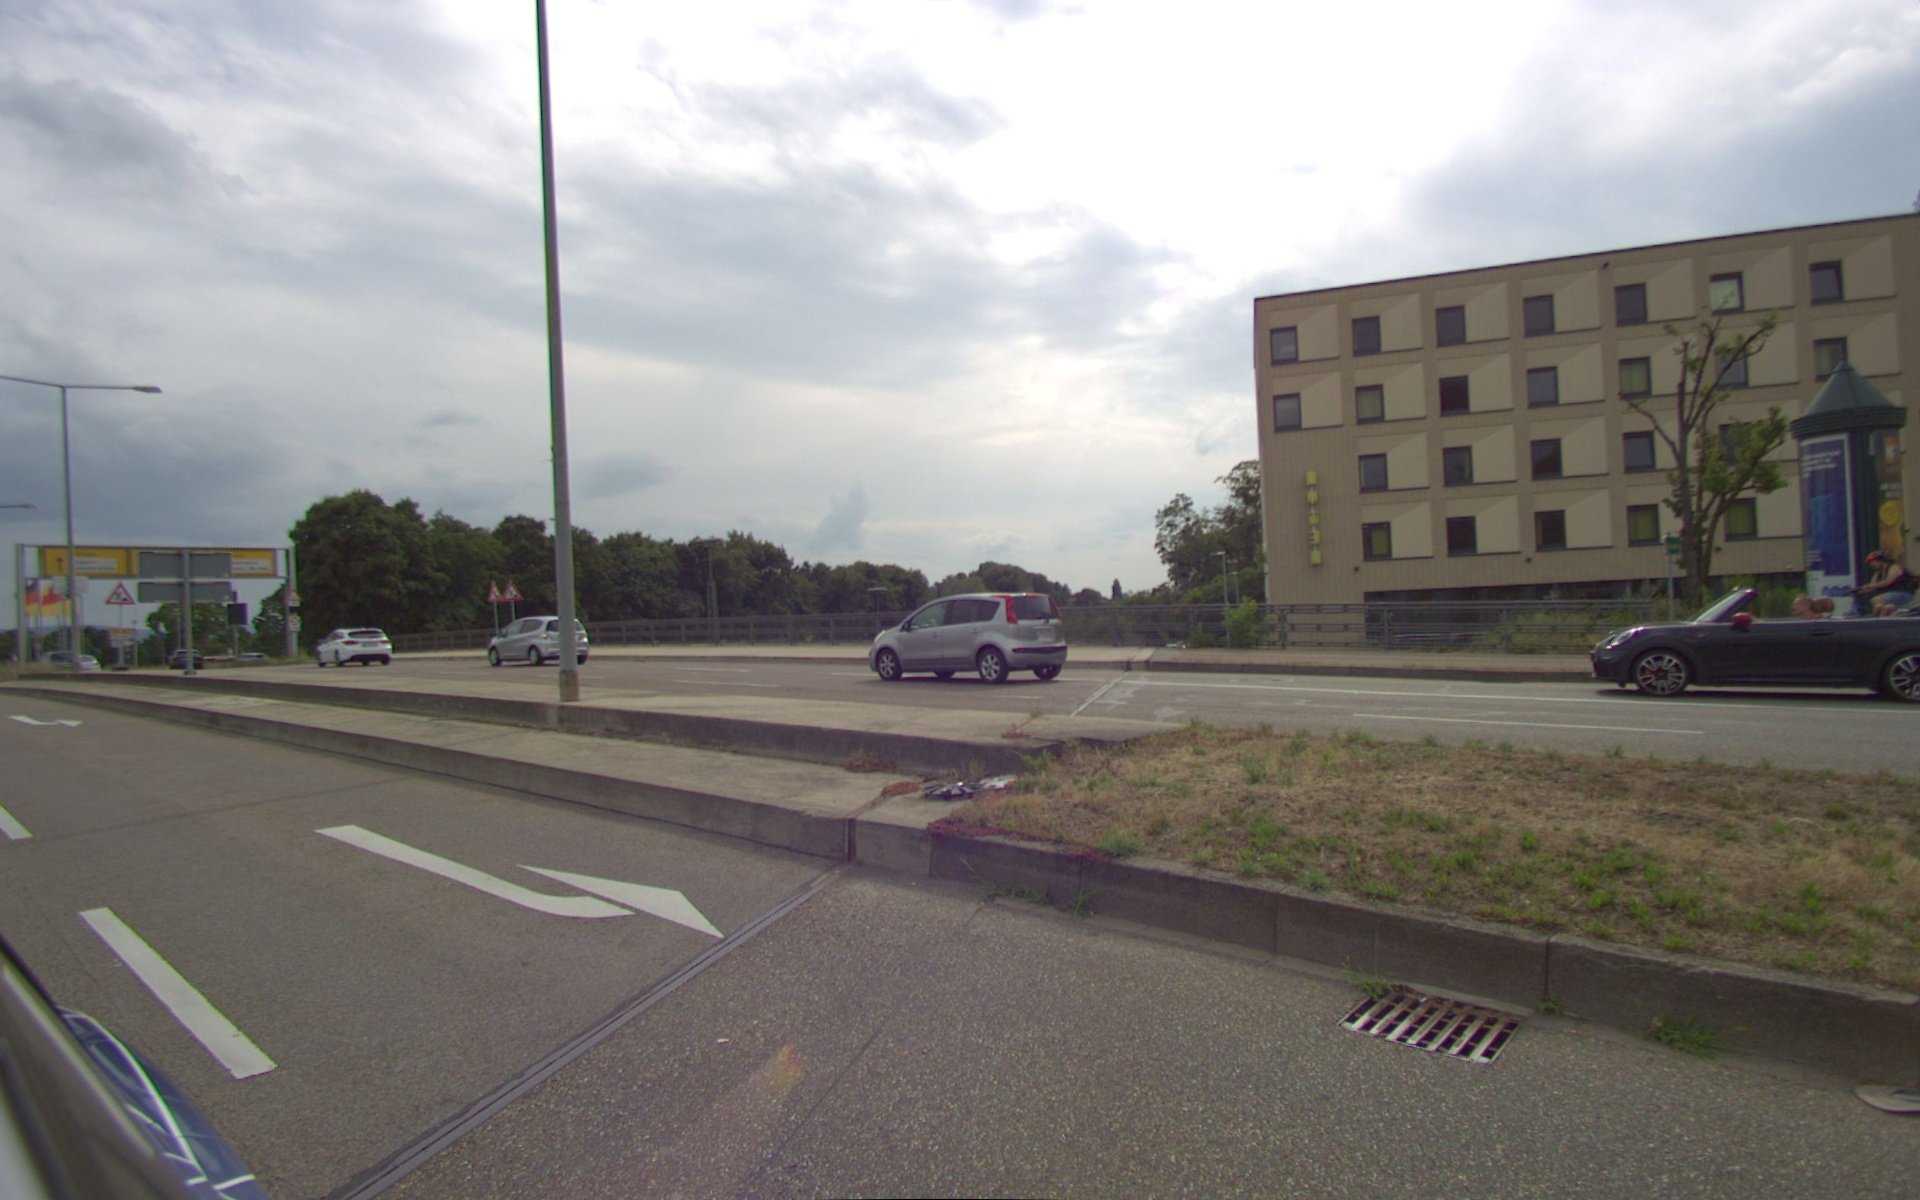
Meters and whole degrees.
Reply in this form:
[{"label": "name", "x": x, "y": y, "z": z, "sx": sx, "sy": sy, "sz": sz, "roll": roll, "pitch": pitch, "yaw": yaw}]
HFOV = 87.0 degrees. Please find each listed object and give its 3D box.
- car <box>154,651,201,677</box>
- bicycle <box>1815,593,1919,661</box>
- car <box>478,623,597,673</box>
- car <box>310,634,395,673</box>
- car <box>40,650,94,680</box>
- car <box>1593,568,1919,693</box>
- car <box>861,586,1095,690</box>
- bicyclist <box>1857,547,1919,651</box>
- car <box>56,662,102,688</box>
[{"label": "car", "x": -55.719, "y": 4.562, "z": 72.032, "sx": 4.544, "sy": 1.652, "sz": 1.867, "roll": -4, "pitch": -1, "yaw": 42}, {"label": "bicycle", "x": 15.659, "y": 0.443, "z": 16.881, "sx": 1.978, "sy": 1.061, "sz": 0.682, "roll": -2, "pitch": 0, "yaw": 18}, {"label": "car", "x": -13.411, "y": 1.496, "z": 32.058, "sx": 4.025, "sy": 1.426, "sz": 1.791, "roll": -2, "pitch": -1, "yaw": 39}, {"label": "car", "x": -24.318, "y": 2.127, "z": 40.425, "sx": 1.896, "sy": 1.426, "sz": 4.885, "roll": 0, "pitch": -3, "yaw": -44}, {"label": "car", "x": -53.456, "y": 3.872, "z": 60.569, "sx": 4.583, "sy": 1.652, "sz": 1.867, "roll": -4, "pitch": -1, "yaw": 42}, {"label": "car", "x": 10.373, "y": 0.389, "z": 12.879, "sx": 3.864, "sy": 1.421, "sz": 1.728, "roll": -2, "pitch": -1, "yaw": 32}, {"label": "car", "x": 0.235, "y": 0.662, "z": 18.166, "sx": 4.078, "sy": 1.671, "sz": 1.723, "roll": -2, "pitch": -2, "yaw": 42}, {"label": "bicyclist", "x": 15.694, "y": -0.017, "z": 16.859, "sx": 0.840, "sy": 1.684, "sz": 0.682, "roll": -2, "pitch": 0, "yaw": 18}, {"label": "car", "x": -62.403, "y": 5.276, "z": 71.641, "sx": 4.215, "sy": 1.652, "sz": 1.868, "roll": -3, "pitch": -1, "yaw": 41}]
